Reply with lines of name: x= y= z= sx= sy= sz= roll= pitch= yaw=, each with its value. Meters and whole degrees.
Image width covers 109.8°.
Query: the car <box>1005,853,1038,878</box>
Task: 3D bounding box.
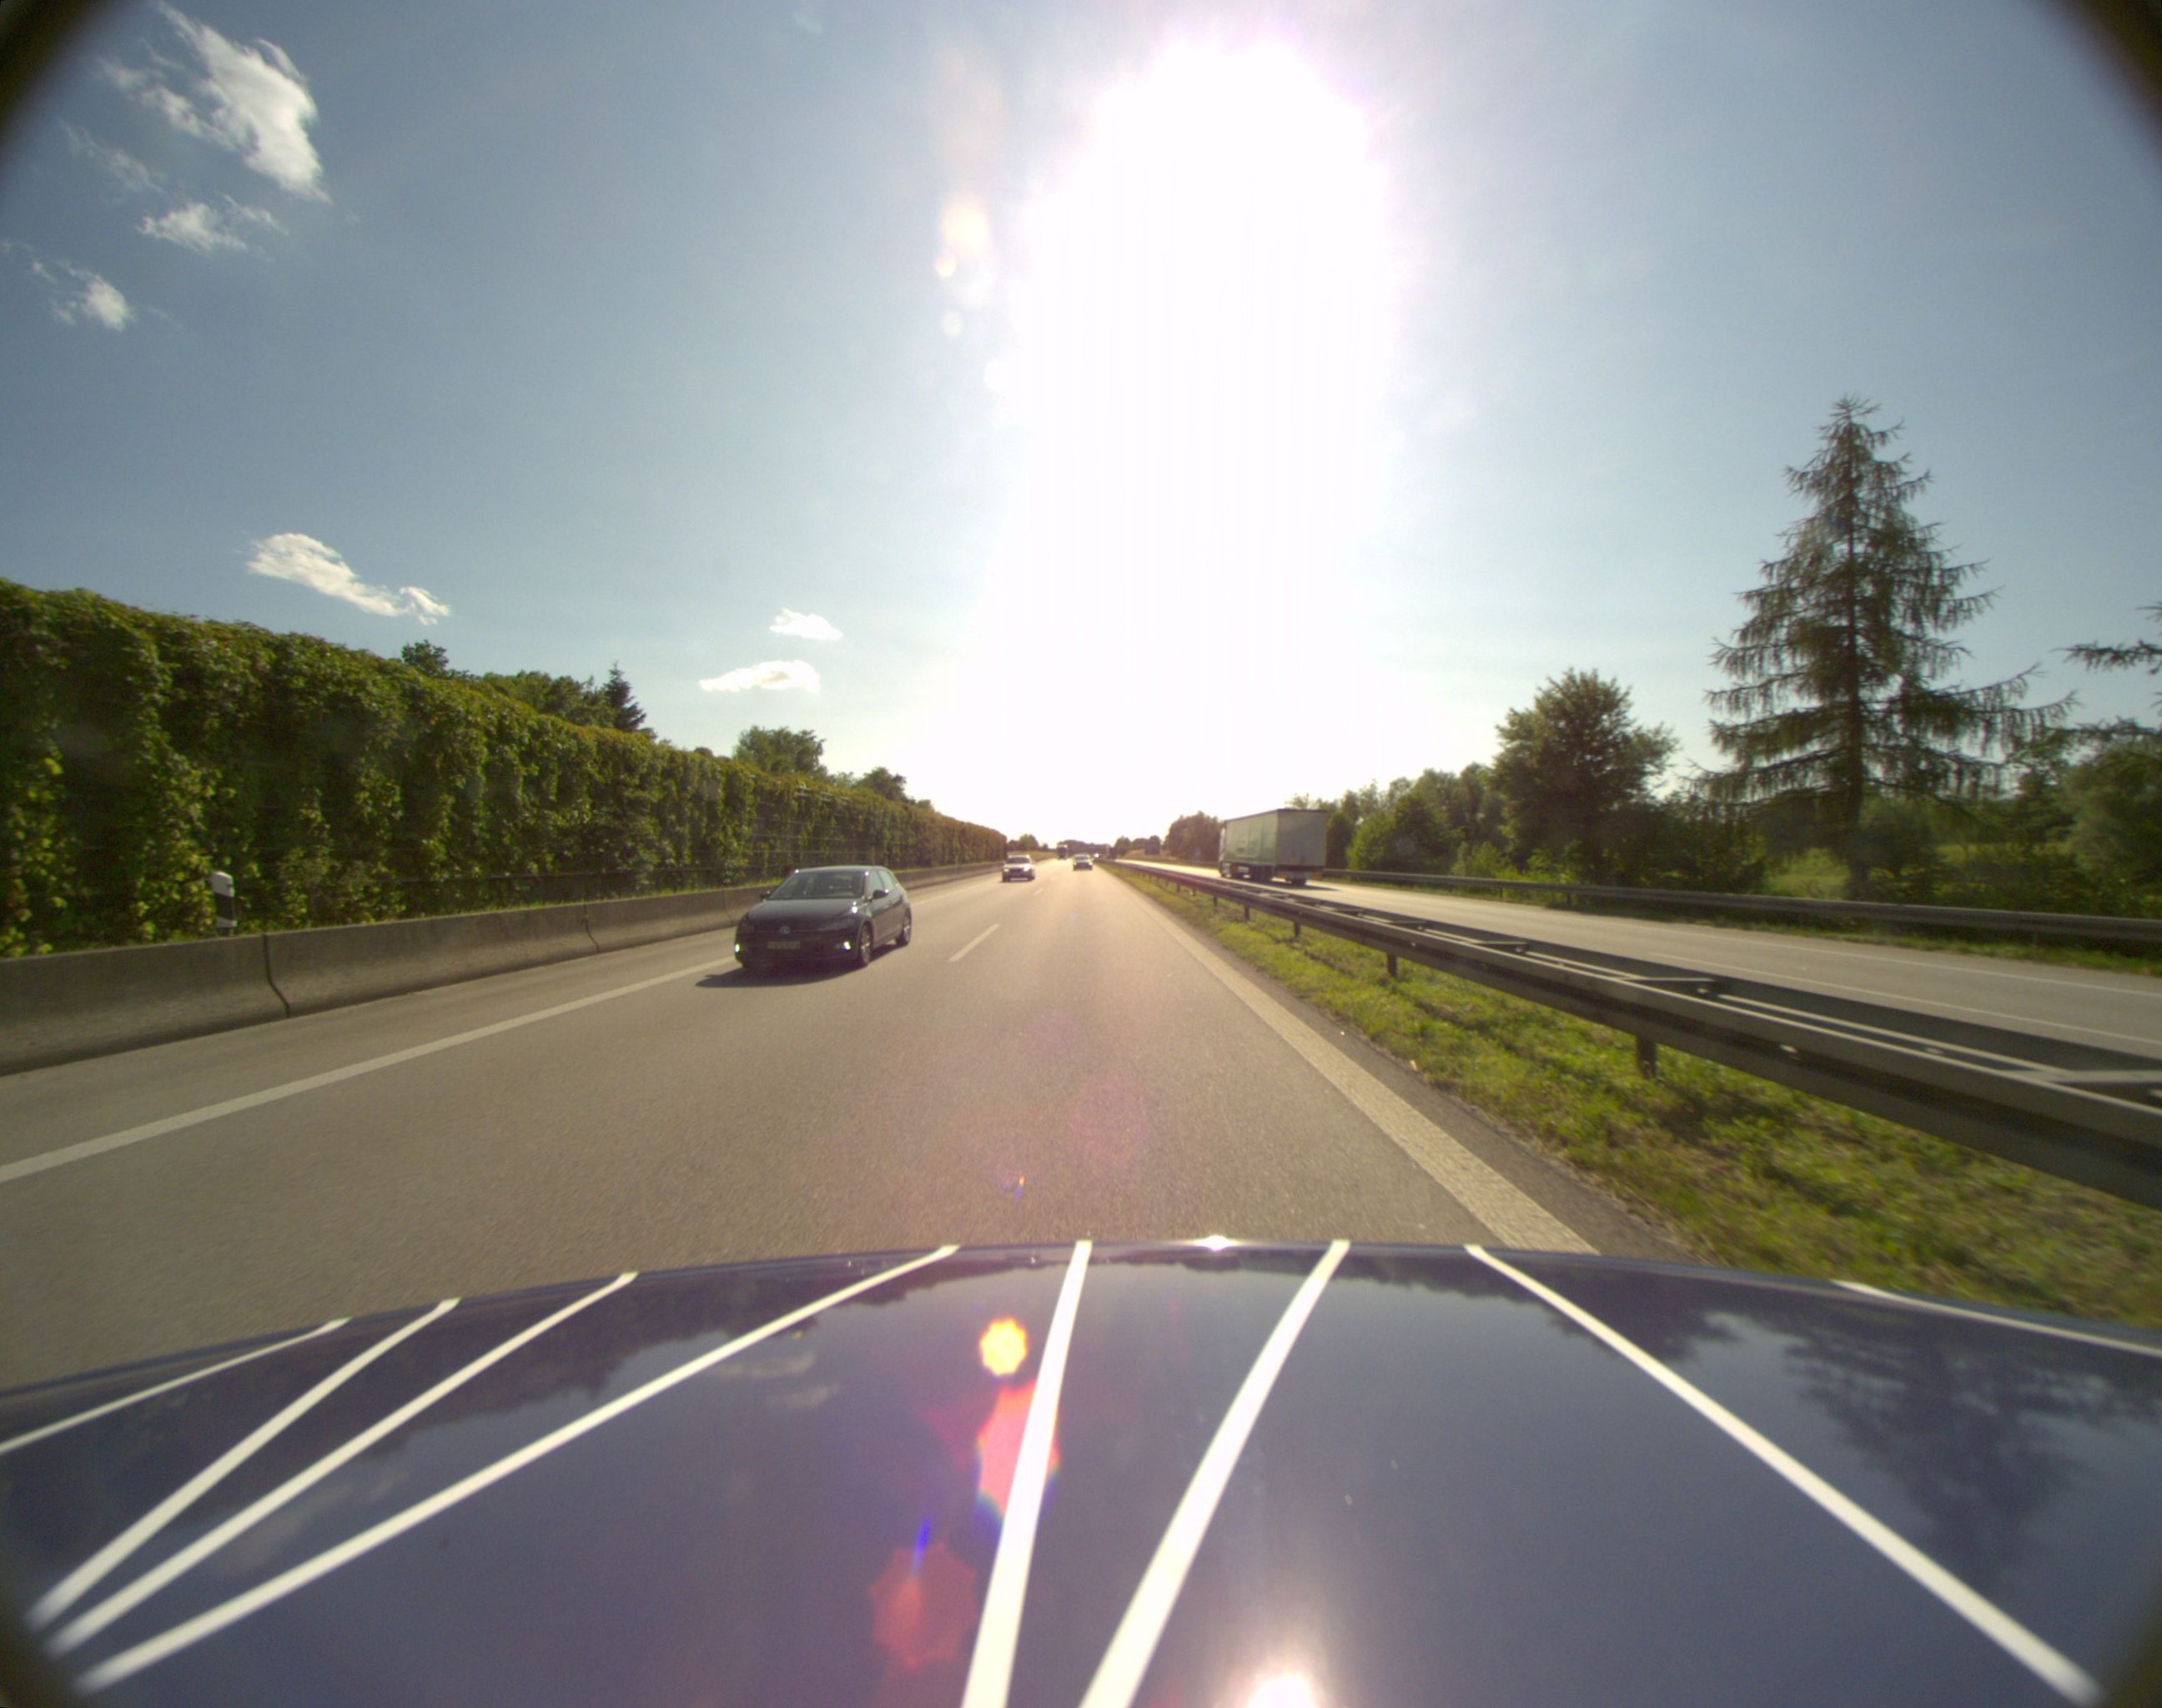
car: x=-3.626 y=0.690 z=46.986 sx=1.689 sy=1.487 sz=4.987 roll=0 pitch=0 yaw=0

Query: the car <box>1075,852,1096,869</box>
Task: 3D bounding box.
car: x=0.439 y=0.565 z=72.500 sx=1.870 sy=1.514 sz=4.283 roll=2 pitch=0 yaw=0

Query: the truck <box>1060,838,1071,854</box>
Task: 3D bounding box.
truck: x=-4.192 y=-2.093 z=207.761 sx=2.536 sy=4.228 sz=11.265 roll=1 pitch=0 yaw=1

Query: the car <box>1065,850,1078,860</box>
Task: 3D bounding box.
car: x=-1.324 y=0.153 z=106.438 sx=1.689 sy=1.309 sz=4.076 roll=0 pitch=0 yaw=0

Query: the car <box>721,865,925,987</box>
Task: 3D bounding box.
car: x=-3.822 y=0.972 z=12.169 sx=1.669 sy=1.446 sz=4.544 roll=-1 pitch=0 yaw=0

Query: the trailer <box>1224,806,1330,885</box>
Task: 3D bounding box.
trailer: x=11.297 y=-0.464 z=45.740 sx=2.668 sy=3.985 sz=14.086 roll=1 pitch=0 yaw=0

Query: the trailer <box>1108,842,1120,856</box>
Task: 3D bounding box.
trailer: x=10.438 y=-1.545 z=239.844 sx=2.795 sy=4.136 sz=14.391 roll=1 pitch=0 yaw=-1

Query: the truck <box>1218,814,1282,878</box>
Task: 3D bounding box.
truck: x=11.281 y=-0.502 z=51.410 sx=2.650 sy=3.985 sz=7.192 roll=1 pitch=0 yaw=0
